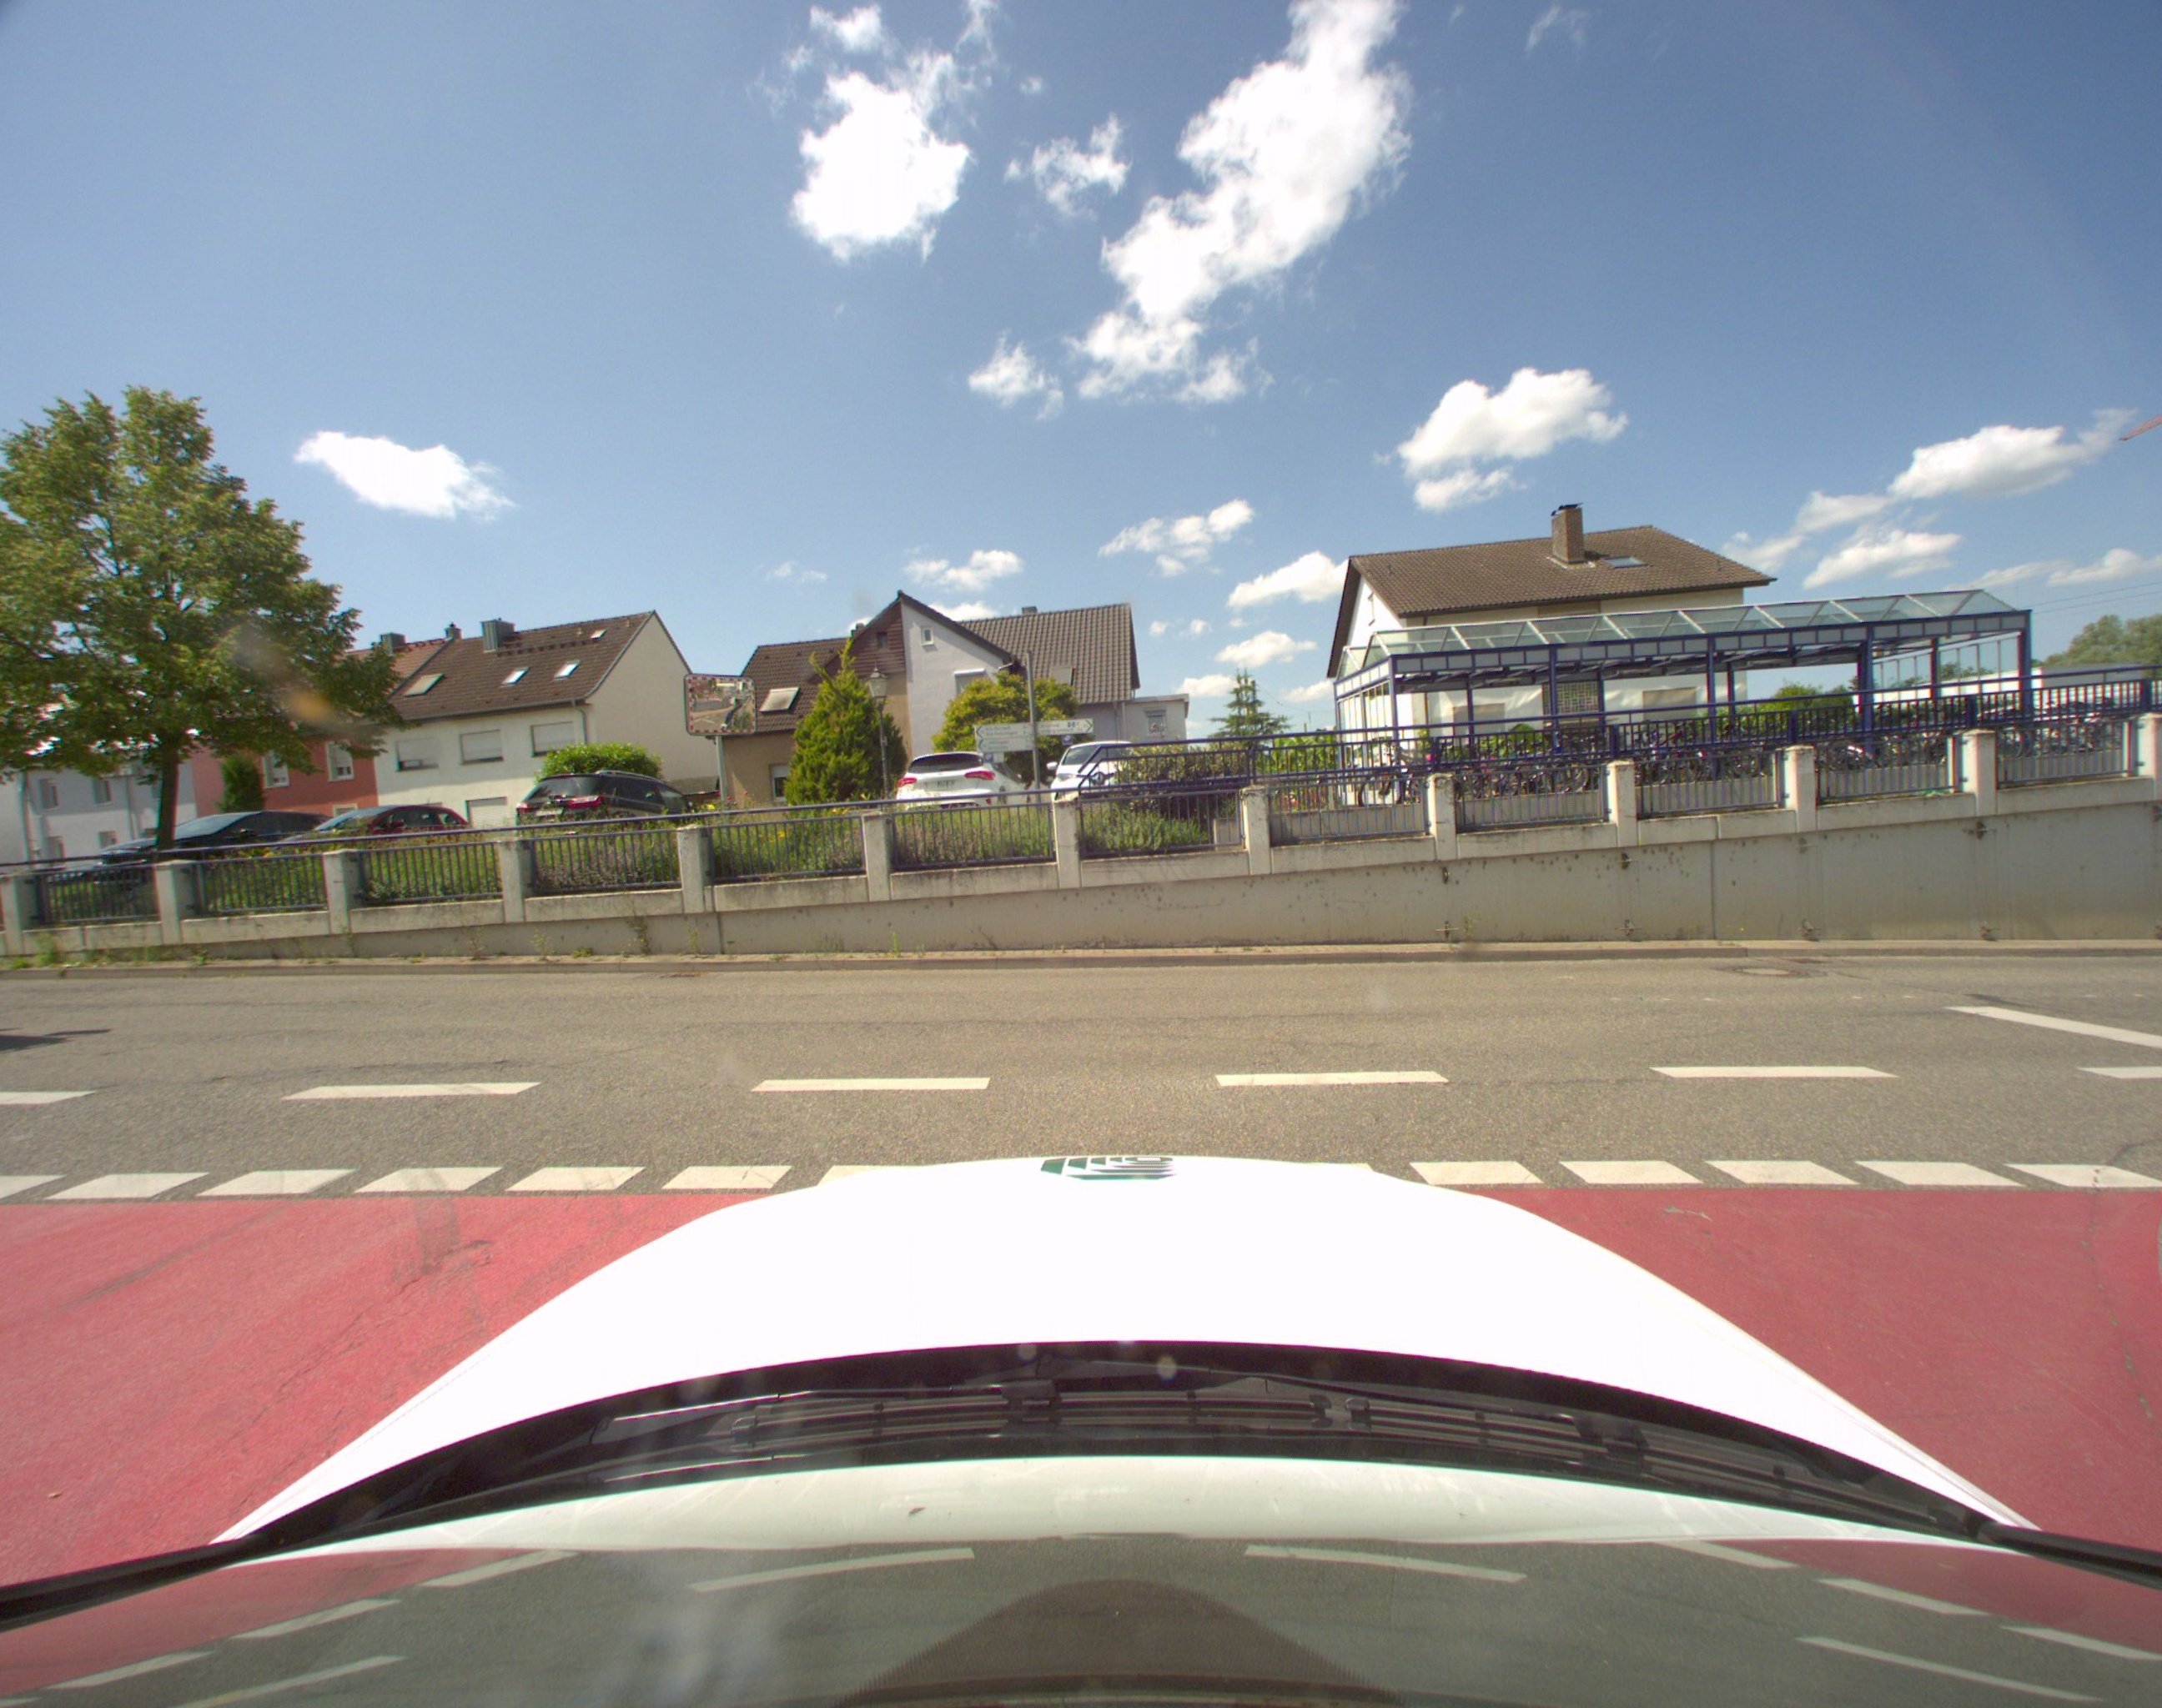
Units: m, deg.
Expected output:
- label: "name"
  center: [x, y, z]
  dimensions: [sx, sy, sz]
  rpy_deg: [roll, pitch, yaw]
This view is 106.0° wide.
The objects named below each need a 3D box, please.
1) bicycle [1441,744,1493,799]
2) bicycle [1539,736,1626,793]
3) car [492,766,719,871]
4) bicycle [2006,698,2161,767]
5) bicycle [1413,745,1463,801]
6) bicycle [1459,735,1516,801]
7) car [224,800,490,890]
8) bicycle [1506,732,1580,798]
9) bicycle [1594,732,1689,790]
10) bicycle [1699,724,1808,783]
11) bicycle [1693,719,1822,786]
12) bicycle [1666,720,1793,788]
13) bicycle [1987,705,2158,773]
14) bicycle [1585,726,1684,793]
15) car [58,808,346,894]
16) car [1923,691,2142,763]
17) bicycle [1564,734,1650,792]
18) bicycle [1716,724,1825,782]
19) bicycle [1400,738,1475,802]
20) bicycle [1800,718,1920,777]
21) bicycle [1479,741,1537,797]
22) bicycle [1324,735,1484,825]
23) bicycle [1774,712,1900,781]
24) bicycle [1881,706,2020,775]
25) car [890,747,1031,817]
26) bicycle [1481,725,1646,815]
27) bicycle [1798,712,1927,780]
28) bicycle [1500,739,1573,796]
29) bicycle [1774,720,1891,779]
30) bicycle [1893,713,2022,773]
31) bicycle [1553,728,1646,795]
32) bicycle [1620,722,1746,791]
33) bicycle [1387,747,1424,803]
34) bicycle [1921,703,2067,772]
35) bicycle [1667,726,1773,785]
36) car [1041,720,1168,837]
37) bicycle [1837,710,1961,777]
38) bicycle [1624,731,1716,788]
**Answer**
- label: "bicycle"
  center: [7.768, -1.628, 16.449]
  dimensions: [0.370, 0.994, 1.971]
  rpy_deg: [-3, 3, 9]
- label: "bicycle"
  center: [9.972, -1.755, 16.272]
  dimensions: [0.472, 0.994, 1.966]
  rpy_deg: [-3, 3, 0]
- label: "car"
  center: [-9.082, -0.639, 16.017]
  dimensions: [1.858, 1.797, 4.006]
  rpy_deg: [0, 1, 5]
- label: "bicycle"
  center: [17.905, -2.128, 14.534]
  dimensions: [0.541, 0.994, 2.041]
  rpy_deg: [-3, 3, 3]
- label: "bicycle"
  center: [7.007, -1.563, 16.053]
  dimensions: [0.370, 0.994, 1.971]
  rpy_deg: [-3, 3, 9]
- label: "bicycle"
  center: [6.864, -1.418, 13.825]
  dimensions: [0.432, 0.994, 2.111]
  rpy_deg: [-3, 3, 16]
- label: "car"
  center: [-14.054, -0.182, 16.132]
  dimensions: [1.858, 1.586, 3.615]
  rpy_deg: [0, 1, 5]
- label: "bicycle"
  center: [7.888, -1.489, 13.993]
  dimensions: [0.432, 0.994, 2.109]
  rpy_deg: [-3, 3, 11]
- label: "bicycle"
  center: [11.160, -1.830, 16.301]
  dimensions: [0.517, 0.994, 1.966]
  rpy_deg: [-3, 3, 0]
- label: "bicycle"
  center: [13.309, -1.956, 16.187]
  dimensions: [0.517, 0.994, 1.966]
  rpy_deg: [-3, 3, 0]
- label: "bicycle"
  center: [12.008, -1.767, 14.550]
  dimensions: [0.530, 0.994, 2.189]
  rpy_deg: [-3, 3, 2]
- label: "bicycle"
  center: [11.318, -1.714, 14.318]
  dimensions: [0.530, 0.994, 2.189]
  rpy_deg: [-3, 3, 2]
- label: "bicycle"
  center: [17.818, -2.032, 14.721]
  dimensions: [0.435, 0.994, 2.161]
  rpy_deg: [-3, 3, -1]
- label: "bicycle"
  center: [9.583, -1.602, 14.208]
  dimensions: [0.433, 0.994, 2.287]
  rpy_deg: [-3, 3, 8]
- label: "car"
  center: [-17.794, -0.082, 16.776]
  dimensions: [1.858, 1.586, 3.615]
  rpy_deg: [0, 1, 5]
- label: "car"
  center: [29.082, -3.825, 25.096]
  dimensions: [1.990, 1.677, 3.995]
  rpy_deg: [-4, 3, -4]
- label: "bicycle"
  center: [10.447, -1.784, 16.264]
  dimensions: [0.412, 0.994, 1.966]
  rpy_deg: [-3, 3, 0]
- label: "bicycle"
  center: [13.869, -2.003, 16.453]
  dimensions: [0.517, 0.994, 1.966]
  rpy_deg: [-3, 3, 0]
- label: "bicycle"
  center: [6.201, -1.431, 14.267]
  dimensions: [0.331, 0.994, 2.075]
  rpy_deg: [-3, 3, -1]
- label: "bicycle"
  center: [15.614, -2.108, 16.404]
  dimensions: [0.517, 0.994, 1.966]
  rpy_deg: [-3, 3, 0]
- label: "bicycle"
  center: [8.491, -1.663, 16.251]
  dimensions: [0.370, 0.994, 1.971]
  rpy_deg: [-3, 3, 9]
- label: "bicycle"
  center: [4.541, -1.036, 11.479]
  dimensions: [2.109, 1.125, 0.333]
  rpy_deg: [-3, 2, -2]
- label: "bicycle"
  center: [12.975, -1.804, 14.061]
  dimensions: [0.575, 0.994, 2.196]
  rpy_deg: [-3, 3, 13]
- label: "bicycle"
  center: [15.166, -1.949, 14.291]
  dimensions: [0.512, 0.994, 2.045]
  rpy_deg: [-3, 3, 9]
- label: "car"
  center: [-2.079, -1.259, 15.047]
  dimensions: [1.816, 1.019, 3.464]
  rpy_deg: [0, 1, 5]
- label: "bicycle"
  center: [6.837, -1.180, 11.560]
  dimensions: [2.109, 1.125, 0.392]
  rpy_deg: [-3, 2, -2]
- label: "bicycle"
  center: [13.734, -1.866, 14.400]
  dimensions: [0.513, 0.994, 2.043]
  rpy_deg: [-3, 3, 7]
- label: "bicycle"
  center: [9.131, -1.709, 16.402]
  dimensions: [0.424, 0.994, 1.967]
  rpy_deg: [-3, 3, 3]
- label: "bicycle"
  center: [15.065, -2.074, 16.396]
  dimensions: [0.517, 0.994, 1.966]
  rpy_deg: [-3, 3, 0]
- label: "bicycle"
  center: [17.457, -2.182, 16.289]
  dimensions: [0.541, 0.994, 2.043]
  rpy_deg: [-3, 3, 6]
- label: "bicycle"
  center: [9.003, -1.568, 14.233]
  dimensions: [0.433, 0.994, 2.287]
  rpy_deg: [-3, 3, 8]
- label: "bicycle"
  center: [10.345, -1.645, 14.116]
  dimensions: [0.530, 0.994, 2.283]
  rpy_deg: [-3, 3, 2]
- label: "bicycle"
  center: [6.315, -1.514, 15.915]
  dimensions: [0.452, 0.994, 1.897]
  rpy_deg: [-3, 3, 16]
- label: "bicycle"
  center: [15.982, -2.001, 14.340]
  dimensions: [0.540, 0.994, 2.045]
  rpy_deg: [-3, 3, 9]
- label: "bicycle"
  center: [12.577, -1.907, 16.102]
  dimensions: [0.517, 0.994, 1.966]
  rpy_deg: [-3, 3, 0]
- label: "car"
  center: [0.556, -1.224, 14.874]
  dimensions: [1.984, 1.797, 4.203]
  rpy_deg: [0, 1, 5]
- label: "bicycle"
  center: [14.432, -1.911, 14.445]
  dimensions: [0.512, 0.994, 2.046]
  rpy_deg: [-3, 3, 12]
- label: "bicycle"
  center: [11.831, -1.877, 16.433]
  dimensions: [0.517, 0.994, 1.801]
  rpy_deg: [-3, 3, 0]
